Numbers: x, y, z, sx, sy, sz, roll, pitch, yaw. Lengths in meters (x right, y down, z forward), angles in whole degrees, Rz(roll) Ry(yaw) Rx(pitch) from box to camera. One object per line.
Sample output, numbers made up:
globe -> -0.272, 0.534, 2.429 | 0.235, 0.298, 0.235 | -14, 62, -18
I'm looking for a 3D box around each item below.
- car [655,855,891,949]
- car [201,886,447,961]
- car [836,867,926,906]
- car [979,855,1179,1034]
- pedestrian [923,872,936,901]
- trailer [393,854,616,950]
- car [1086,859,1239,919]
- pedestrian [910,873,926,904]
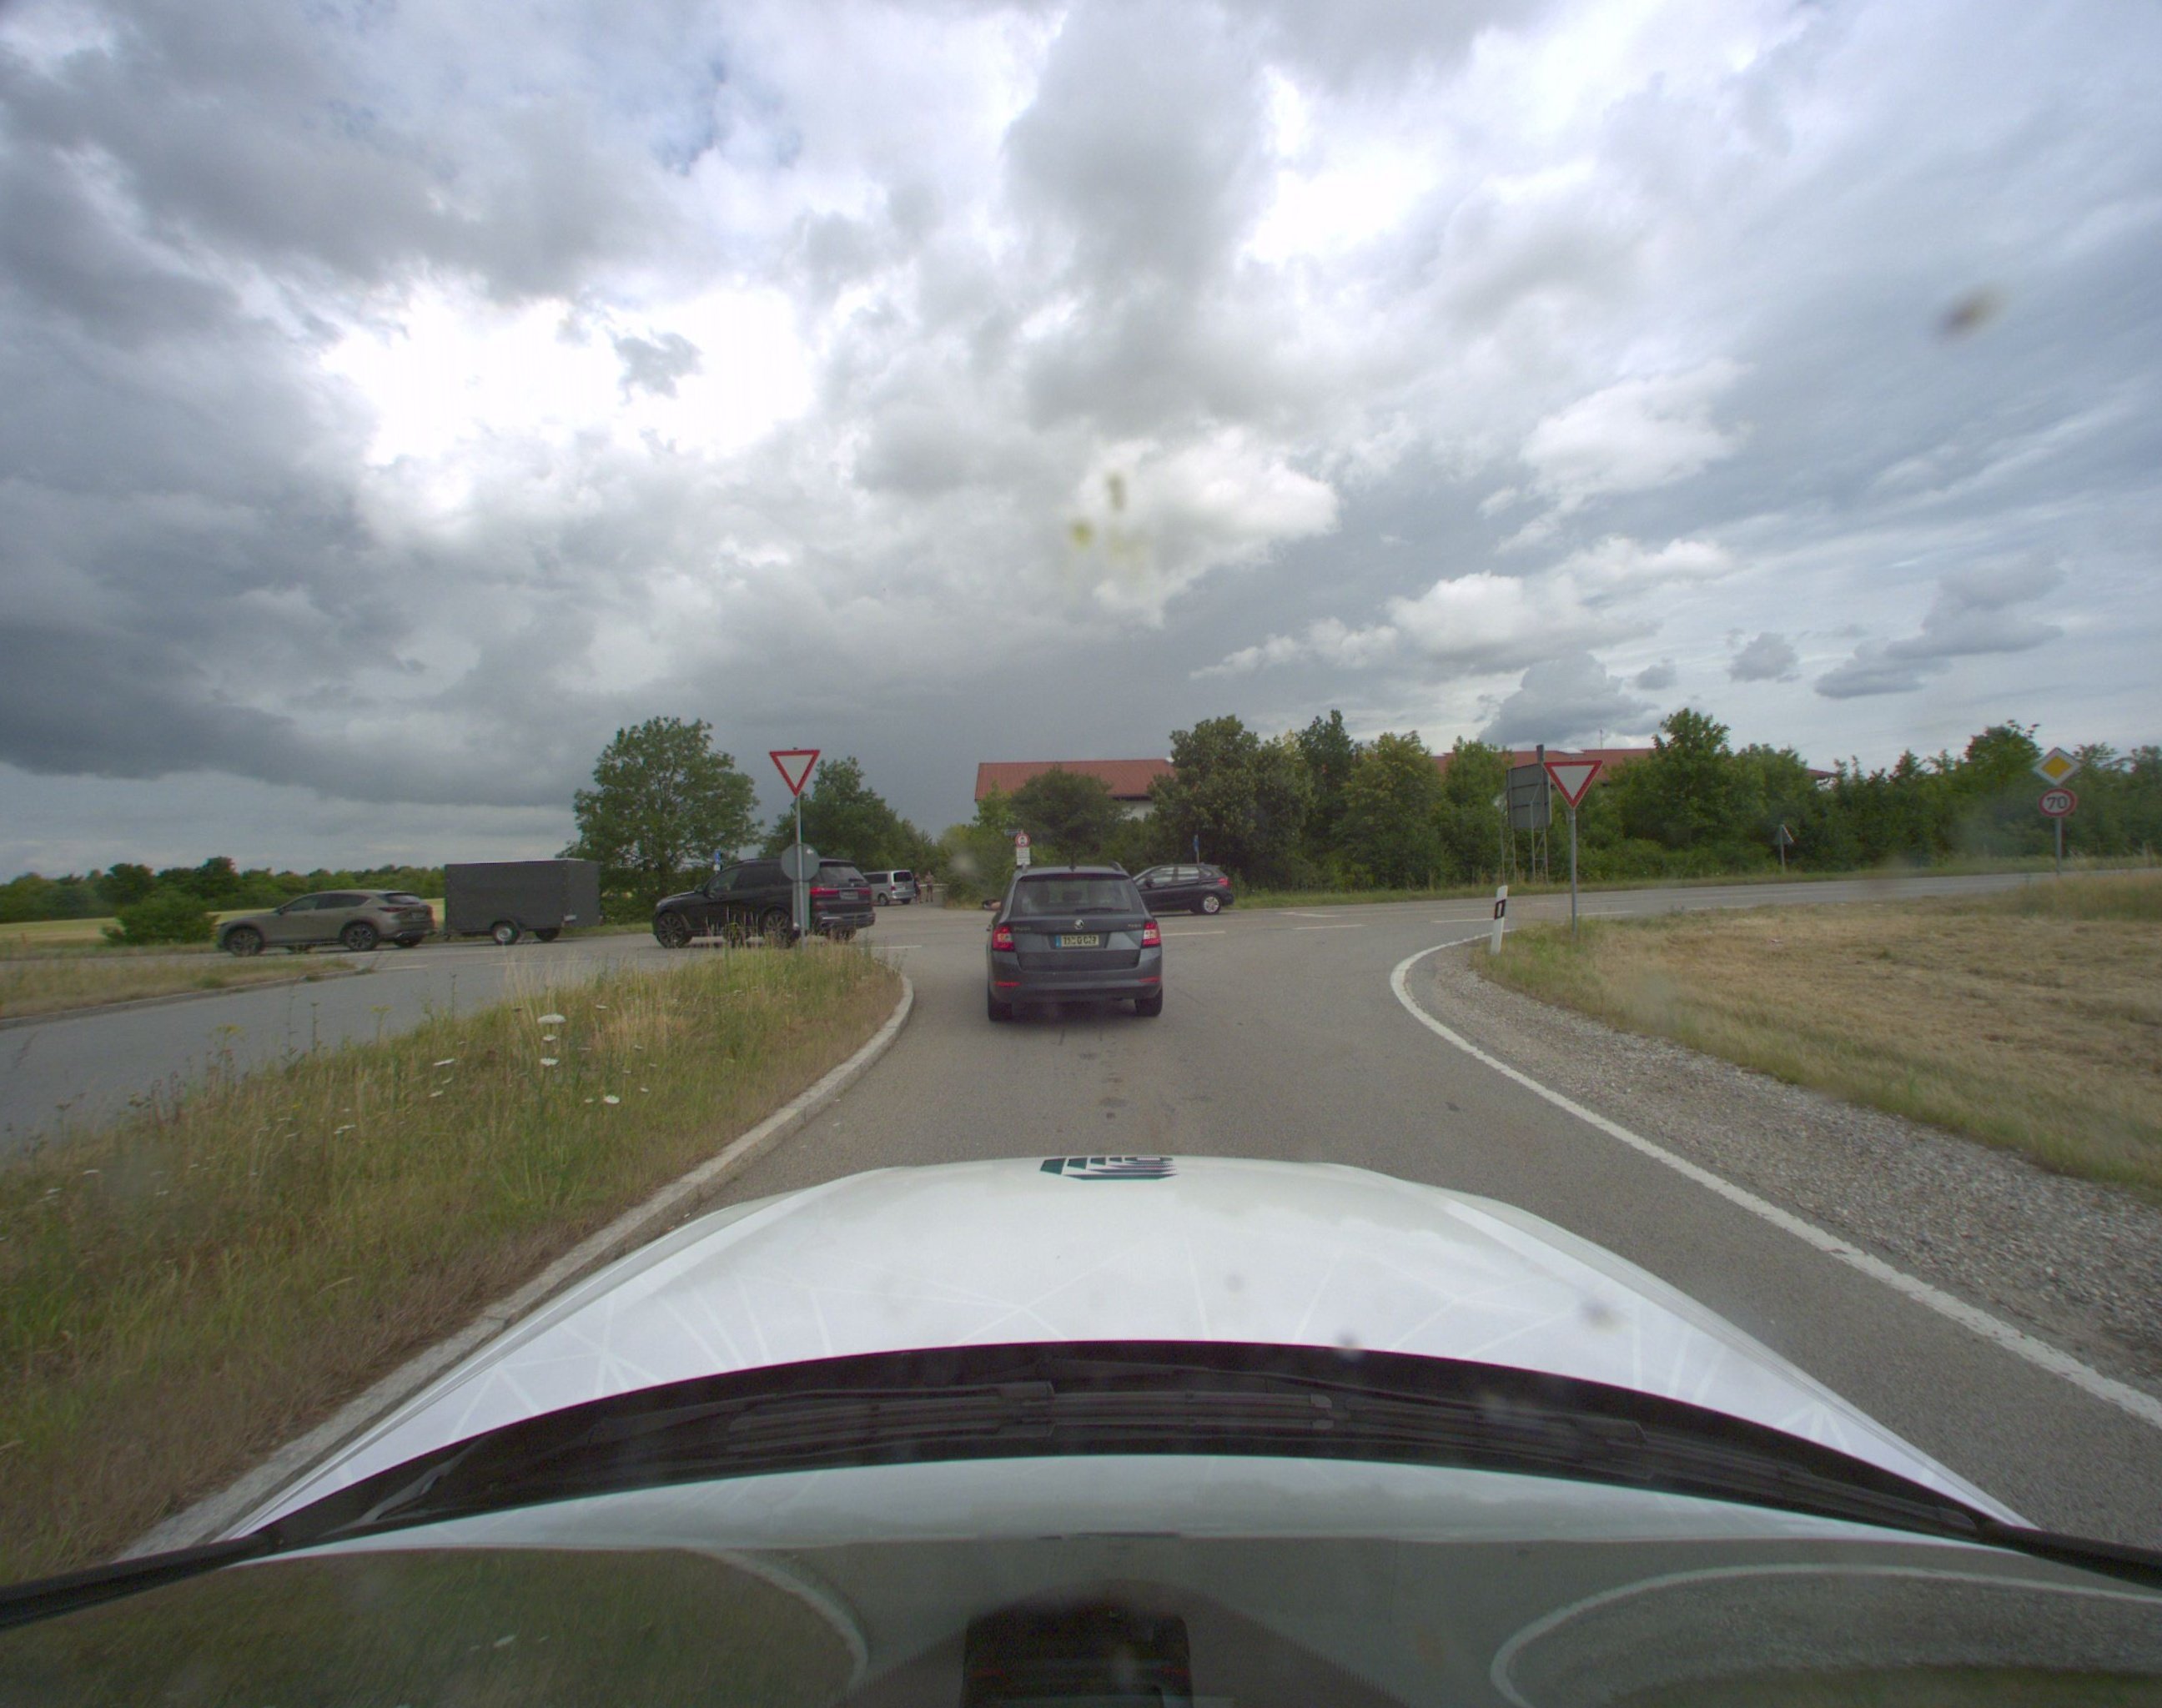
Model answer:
car -> -6.571, 1.013, 17.360 | 4.586, 1.774, 2.011 | -3, -1, 25
car -> -20.283, 1.813, 22.036 | 4.462, 1.682, 1.994 | -3, -2, -9
car -> -11.698, 1.910, 47.497 | 4.851, 2.013, 2.357 | -3, 0, 33
car -> -0.154, 0.790, 8.758 | 1.673, 1.463, 3.701 | -1, -1, -5
pedestrian -> -9.056, 1.956, 48.735 | 0.586, 1.682, 0.562 | -3, 0, -22
trailer -> -15.857, 1.296, 22.680 | 4.379, 2.292, 2.410 | -3, -2, -8
car -> 2.407, 1.037, 24.791 | 4.283, 1.487, 1.995 | -3, -1, -7
pedestrian -> -9.428, 1.986, 47.074 | 0.523, 1.725, 0.646 | -3, 0, 33
